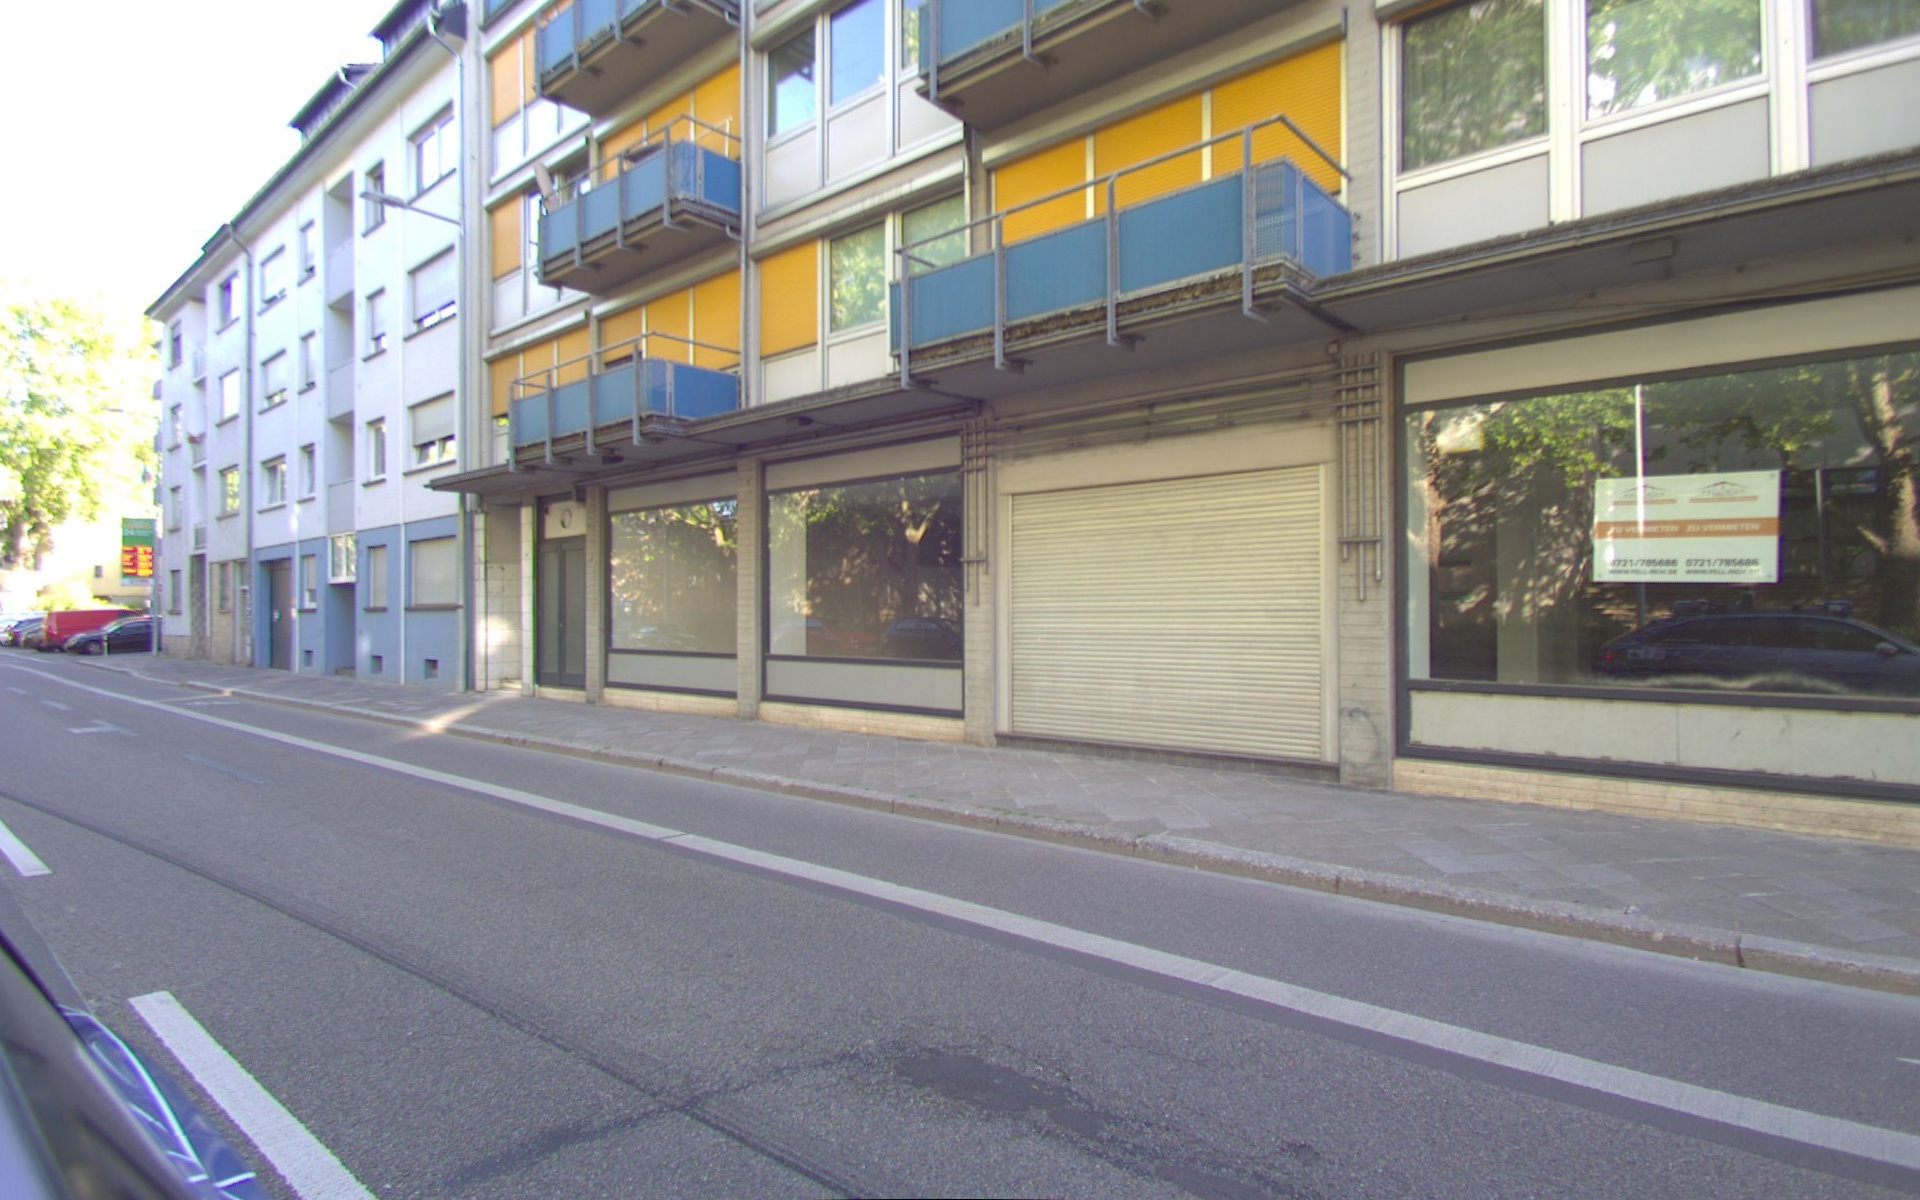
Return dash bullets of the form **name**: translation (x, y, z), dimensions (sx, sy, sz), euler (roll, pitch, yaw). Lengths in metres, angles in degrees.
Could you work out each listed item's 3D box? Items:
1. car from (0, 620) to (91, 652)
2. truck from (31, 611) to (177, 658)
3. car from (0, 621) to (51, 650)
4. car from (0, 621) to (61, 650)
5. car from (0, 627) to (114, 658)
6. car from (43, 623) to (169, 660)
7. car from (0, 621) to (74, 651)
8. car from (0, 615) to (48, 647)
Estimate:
- **car**: translation (-50.824, 1.951, 55.968), dimensions (1.699, 1.640, 3.952), euler (-1, 0, 35)
- **truck**: translation (-40.351, 1.584, 47.836), dimensions (1.998, 2.036, 5.024), euler (-1, 0, 40)
- **car**: translation (-56.889, 2.122, 60.393), dimensions (1.740, 1.600, 3.685), euler (-1, 0, 35)
- **car**: translation (-55.069, 2.082, 59.001), dimensions (1.715, 1.594, 3.660), euler (-1, 0, 35)
- **car**: translation (-43.310, 1.992, 48.513), dimensions (1.904, 1.282, 3.983), euler (-1, 0, 39)
- **car**: translation (-36.849, 1.751, 43.736), dimensions (1.780, 1.404, 3.947), euler (-1, 0, 39)
- **car**: translation (-52.884, 2.037, 57.472), dimensions (1.656, 1.599, 3.615), euler (-1, 0, 35)
- **car**: translation (-59.760, 1.968, 63.835), dimensions (1.693, 1.953, 3.224), euler (-1, 0, 43)
